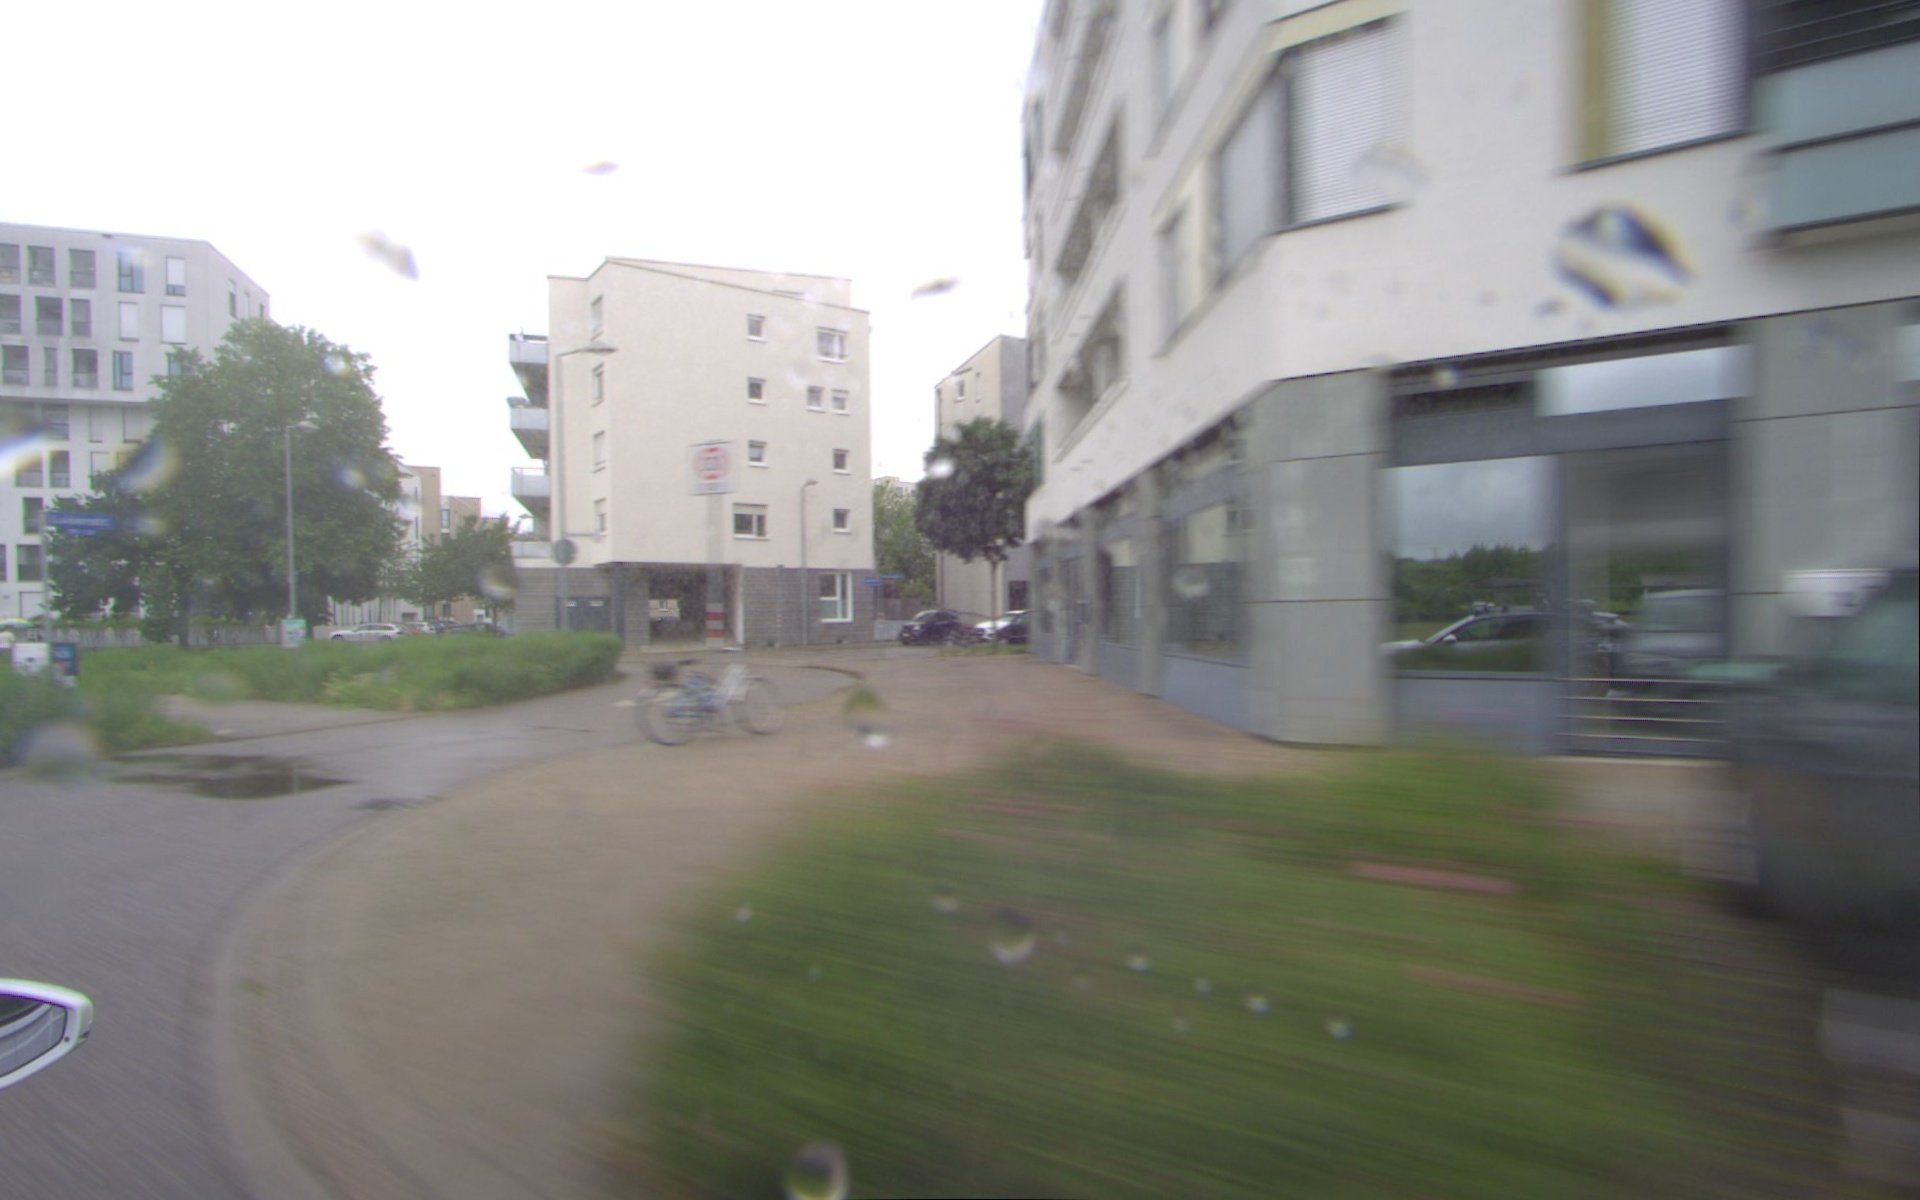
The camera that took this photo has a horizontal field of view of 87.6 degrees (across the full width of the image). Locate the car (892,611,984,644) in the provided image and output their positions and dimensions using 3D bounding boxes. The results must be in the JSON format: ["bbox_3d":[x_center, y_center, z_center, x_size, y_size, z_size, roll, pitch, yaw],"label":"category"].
[{"bbox_3d":[-0.988,1.232,45.815,3.778,1.434,1.986,0,-1,-36],"label":"car"}]

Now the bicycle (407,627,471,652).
[{"bbox_3d":[-23.349,1.763,44.890,2.441,1.102,0.724,0,0,-17],"label":"bicycle"}]

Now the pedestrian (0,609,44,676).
[{"bbox_3d":[-29.116,1.297,31.009,0.613,2.040,0.963,0,0,32],"label":"pedestrian"}]

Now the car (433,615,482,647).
[{"bbox_3d":[-25.645,1.616,51.208,1.705,1.568,4.113,0,-2,-19],"label":"car"}]

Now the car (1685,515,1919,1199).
[{"bbox_3d":[3.547,0.587,2.885,1.937,1.645,4.081,-1,1,30],"label":"car"}]

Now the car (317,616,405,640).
[{"bbox_3d":[-39.969,1.873,66.944,4.752,1.526,1.622,2,-1,-18],"label":"car"}]

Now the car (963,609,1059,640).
[{"bbox_3d":[2.501,1.170,48.373,4.412,1.450,1.985,0,-1,-38],"label":"car"}]

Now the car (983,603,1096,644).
[{"bbox_3d":[2.915,0.872,37.697,1.791,1.451,4.493,0,-1,-35],"label":"car"}]

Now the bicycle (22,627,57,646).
[{"bbox_3d":[-54.755,2.165,59.571,0.712,1.046,2.069,-1,-1,-19],"label":"bicycle"}]

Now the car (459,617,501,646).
[{"bbox_3d":[-27.360,1.763,57.180,1.705,1.568,3.991,0,-1,-19],"label":"car"}]

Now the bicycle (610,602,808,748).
[{"bbox_3d":[-2.894,0.815,11.726,2.168,1.543,0.625,-1,1,-38],"label":"bicycle"}]
